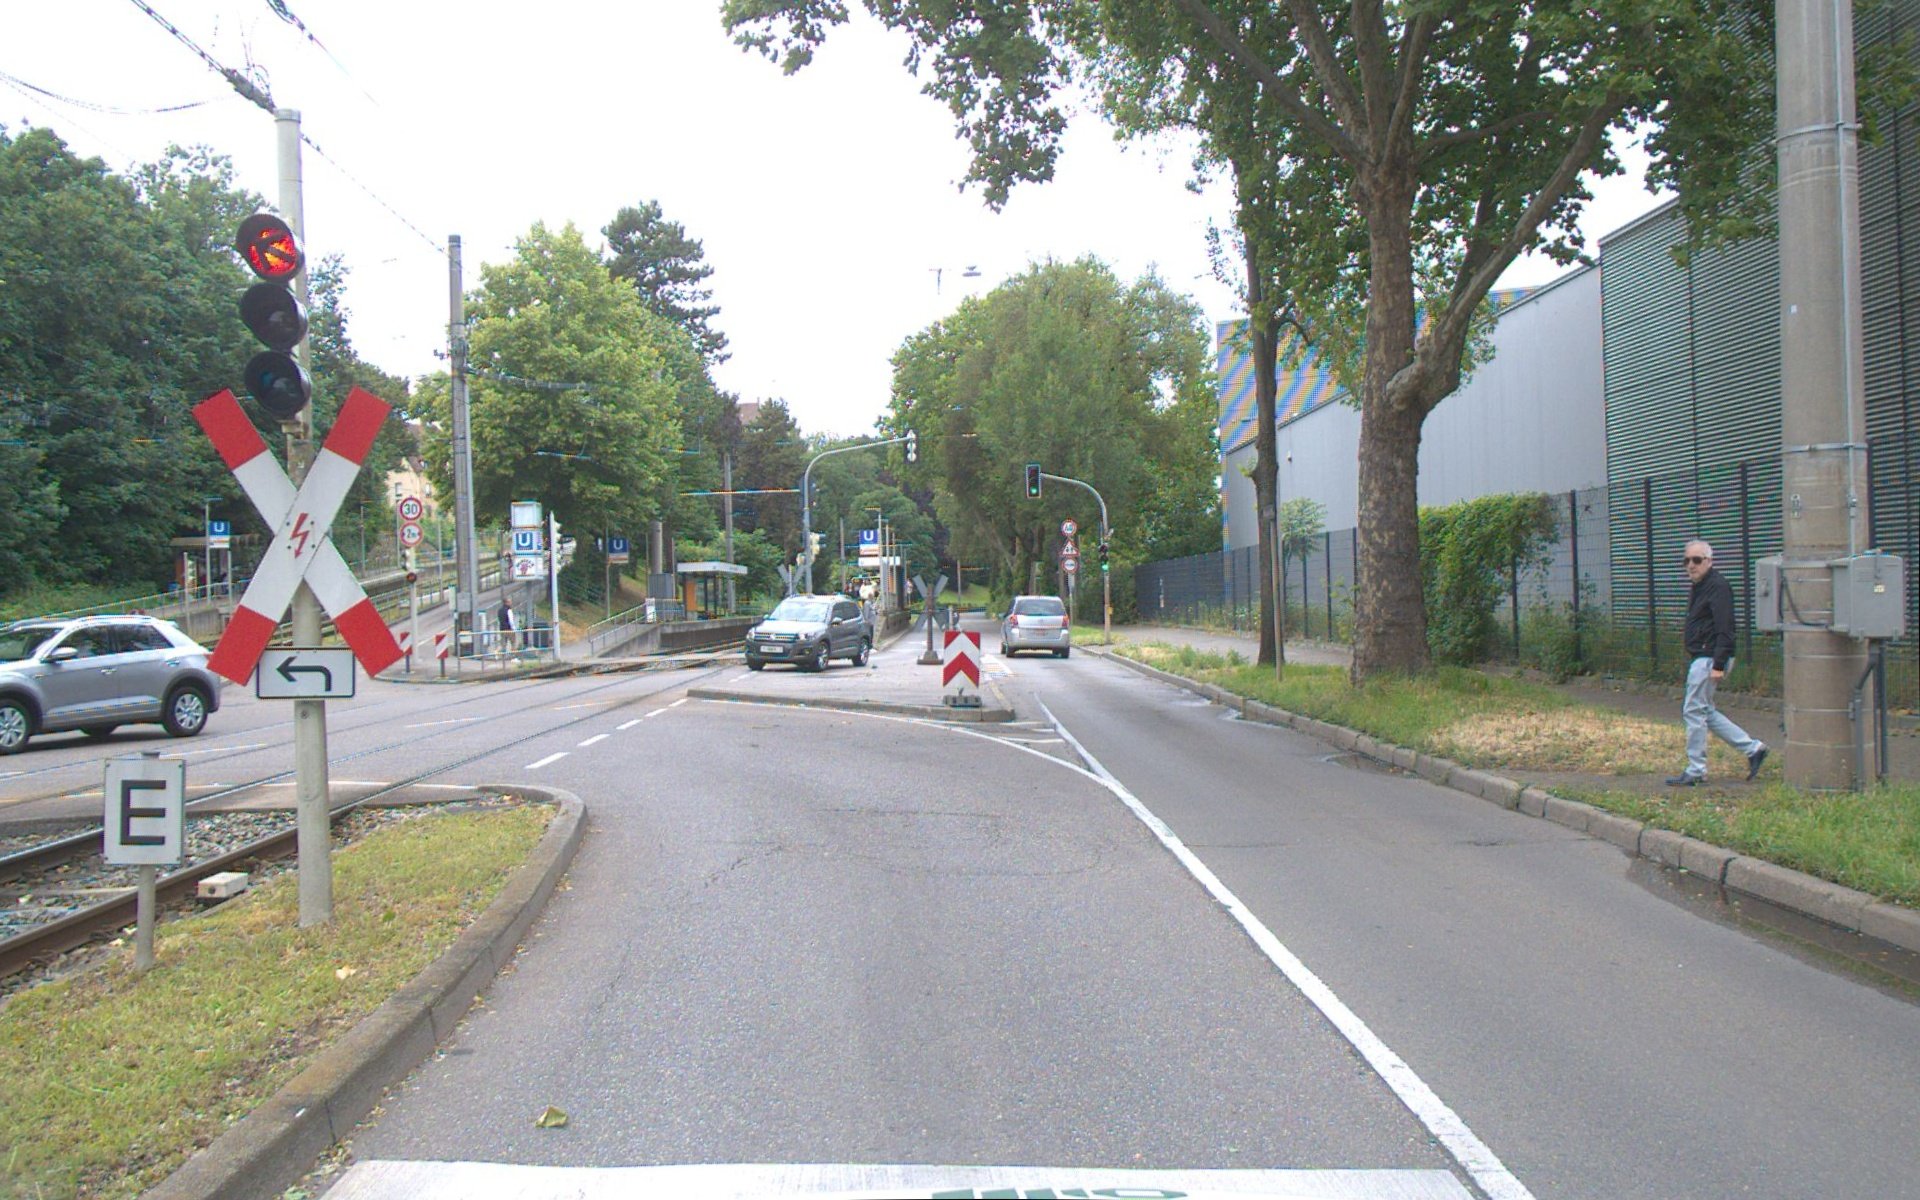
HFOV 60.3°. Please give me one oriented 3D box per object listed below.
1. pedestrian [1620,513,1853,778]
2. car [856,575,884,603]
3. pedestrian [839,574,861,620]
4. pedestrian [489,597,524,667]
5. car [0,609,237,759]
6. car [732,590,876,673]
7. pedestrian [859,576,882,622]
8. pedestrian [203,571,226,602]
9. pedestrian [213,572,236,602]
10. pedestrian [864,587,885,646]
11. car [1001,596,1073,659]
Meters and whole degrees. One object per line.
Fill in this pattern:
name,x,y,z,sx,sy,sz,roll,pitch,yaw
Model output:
pedestrian,5.703,0.343,12.198,1.098,1.790,0.810,-5,-3,-13
car,-7.004,-0.842,129.230,1.953,2.049,3.999,1,0,-1
pedestrian,-4.053,-0.106,61.010,0.722,1.694,0.680,1,-1,-11
pedestrian,-12.190,0.854,44.460,0.654,1.853,0.805,1,-1,1
car,-11.268,0.996,20.288,1.953,1.606,4.177,-2,0,23
car,-3.523,0.707,38.233,1.860,1.748,4.139,-3,-1,16
pedestrian,-3.355,-0.034,61.956,0.722,1.694,0.680,1,-1,-11
pedestrian,-33.428,-0.608,74.160,0.757,1.349,0.786,1,2,-9
pedestrian,-33.537,-0.604,75.416,0.757,1.349,0.785,1,0,-9
pedestrian,-2.630,0.505,50.740,0.538,1.789,0.738,1,-1,4
car,2.057,0.725,45.236,1.708,1.627,3.999,1,0,-1
